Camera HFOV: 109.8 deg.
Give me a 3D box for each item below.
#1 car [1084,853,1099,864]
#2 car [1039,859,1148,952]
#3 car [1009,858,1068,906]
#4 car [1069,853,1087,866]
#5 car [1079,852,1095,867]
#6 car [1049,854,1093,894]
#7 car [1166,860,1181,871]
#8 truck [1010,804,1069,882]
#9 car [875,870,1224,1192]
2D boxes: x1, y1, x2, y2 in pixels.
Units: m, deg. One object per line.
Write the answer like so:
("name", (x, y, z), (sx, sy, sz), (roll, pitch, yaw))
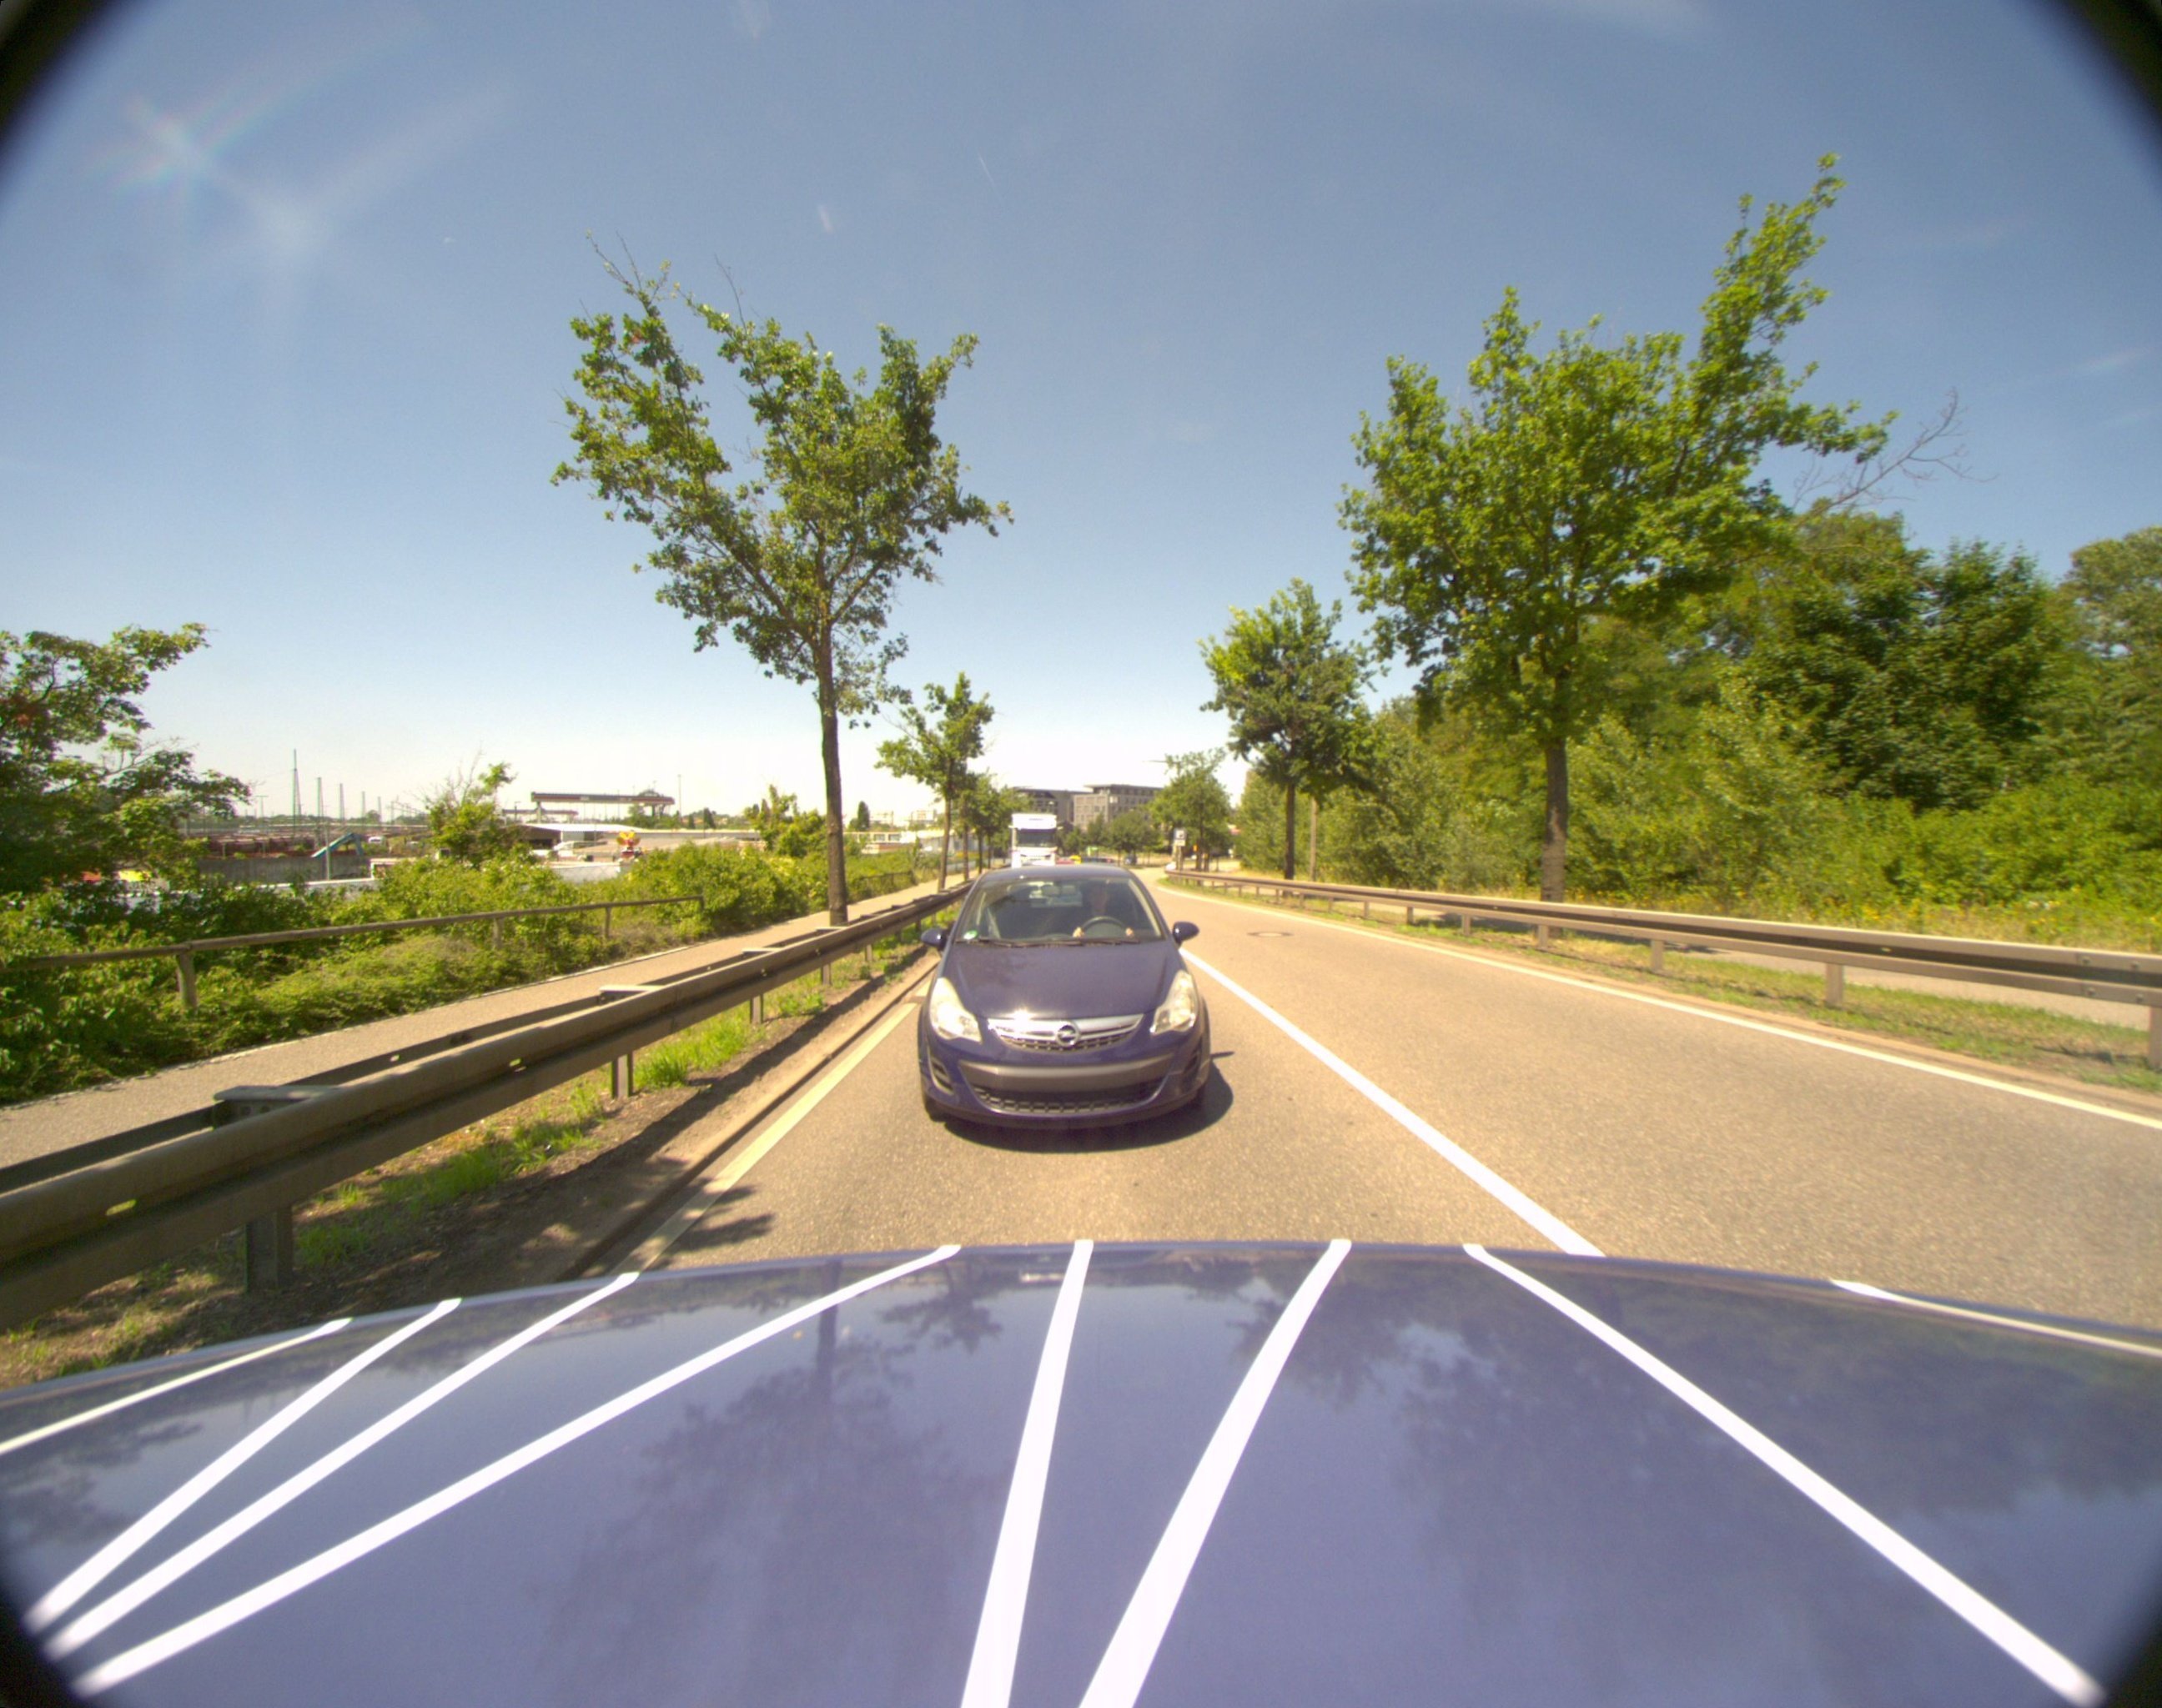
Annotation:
("car", (1.735, 0.650, 119.053), (1.779, 1.657, 4.002), (-2, 1, 8))
("car", (0.119, 0.909, 15.243), (1.781, 1.498, 3.894), (-2, 1, -4))
("car", (-1.480, 0.895, 26.000), (1.781, 1.398, 3.998), (-2, 1, -4))
("car", (-0.363, 0.701, 97.466), (1.742, 1.608, 4.001), (-2, 1, 6))
("car", (0.916, 0.749, 111.388), (1.779, 2.002, 4.002), (-2, 1, 8))
("car", (-0.487, 0.828, 33.905), (1.780, 1.569, 3.999), (-2, 1, -2))
("car", (13.385, 1.617, 110.036), (1.778, 1.435, 4.003), (-2, 1, 12))
("truck", (-3.068, -0.658, 50.064), (3.072, 4.146, 16.901), (-2, 1, -5))
("car", (-0.251, 0.932, 5.783), (1.720, 1.455, 3.836), (-2, 1, -3))
